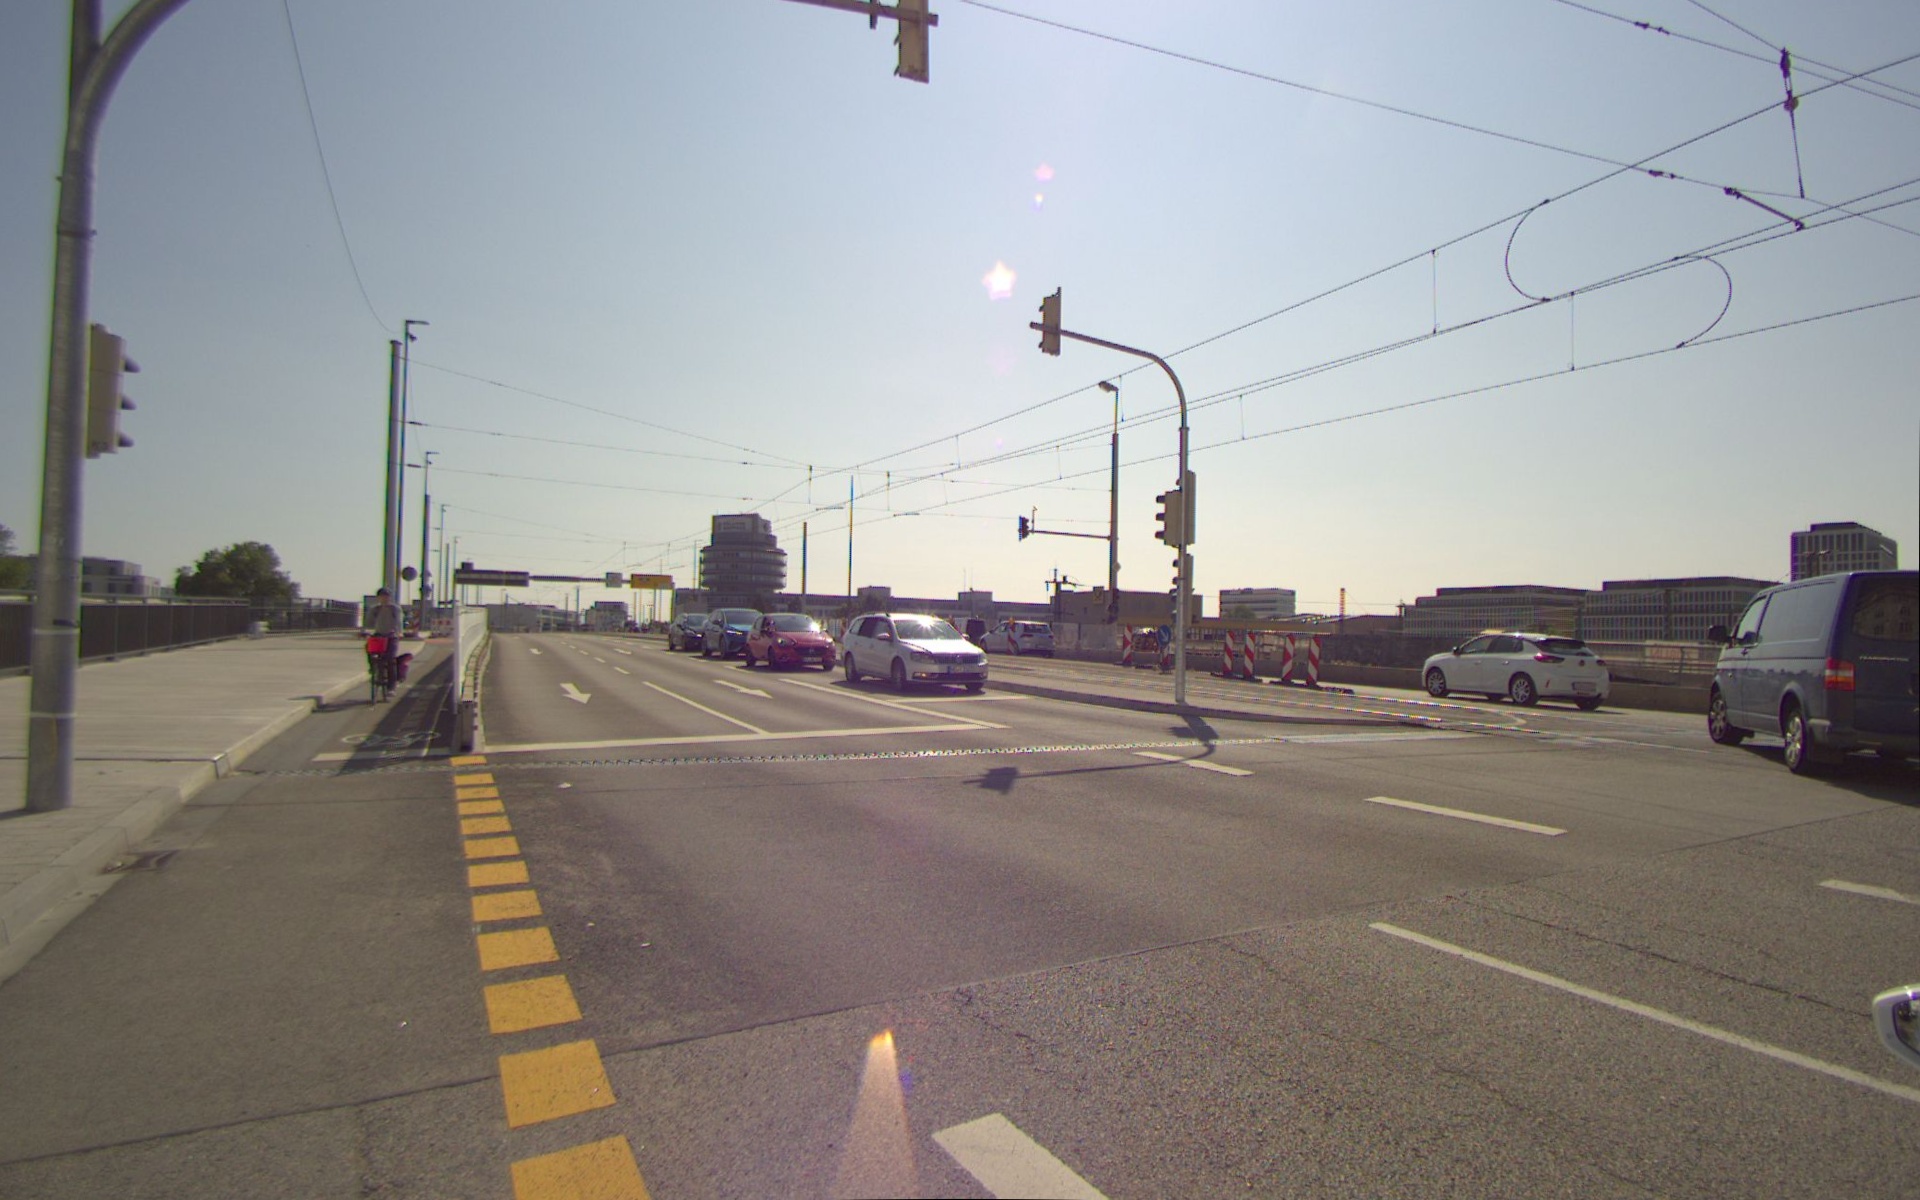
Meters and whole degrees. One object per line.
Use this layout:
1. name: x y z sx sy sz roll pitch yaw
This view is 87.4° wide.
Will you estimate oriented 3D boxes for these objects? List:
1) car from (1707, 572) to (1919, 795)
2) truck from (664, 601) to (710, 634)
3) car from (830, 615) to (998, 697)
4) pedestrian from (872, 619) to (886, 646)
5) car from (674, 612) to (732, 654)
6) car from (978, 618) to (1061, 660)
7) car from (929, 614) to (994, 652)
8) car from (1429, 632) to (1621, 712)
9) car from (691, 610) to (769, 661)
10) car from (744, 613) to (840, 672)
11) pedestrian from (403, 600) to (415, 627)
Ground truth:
1. car: 9.361 0.762 10.445 1.787 1.931 4.051 0 -1 25
2. truck: -28.514 1.781 104.494 2.436 3.176 11.141 2 -1 -26
3. car: -1.069 1.047 20.436 1.622 1.456 4.610 1 -1 -27
4. pedestrian: -5.988 2.430 74.497 0.774 1.960 0.794 1 -2 -27
5. car: -10.026 1.235 38.965 1.489 1.520 4.152 1 -1 -24
6. car: 2.366 1.557 40.632 1.701 1.552 3.672 3 -2 -27
7. car: 0.021 1.947 58.879 1.860 2.059 4.861 3 -3 -25
8. car: 11.551 1.431 20.799 1.692 1.423 3.407 3 -2 -10
9. car: -7.753 1.136 33.578 1.652 1.570 4.528 1 -1 -25
10. car: -4.606 1.103 27.131 1.518 1.456 3.954 1 -1 -25
11. pedestrian: -40.242 0.980 73.392 0.628 1.918 0.747 3 -2 -26
